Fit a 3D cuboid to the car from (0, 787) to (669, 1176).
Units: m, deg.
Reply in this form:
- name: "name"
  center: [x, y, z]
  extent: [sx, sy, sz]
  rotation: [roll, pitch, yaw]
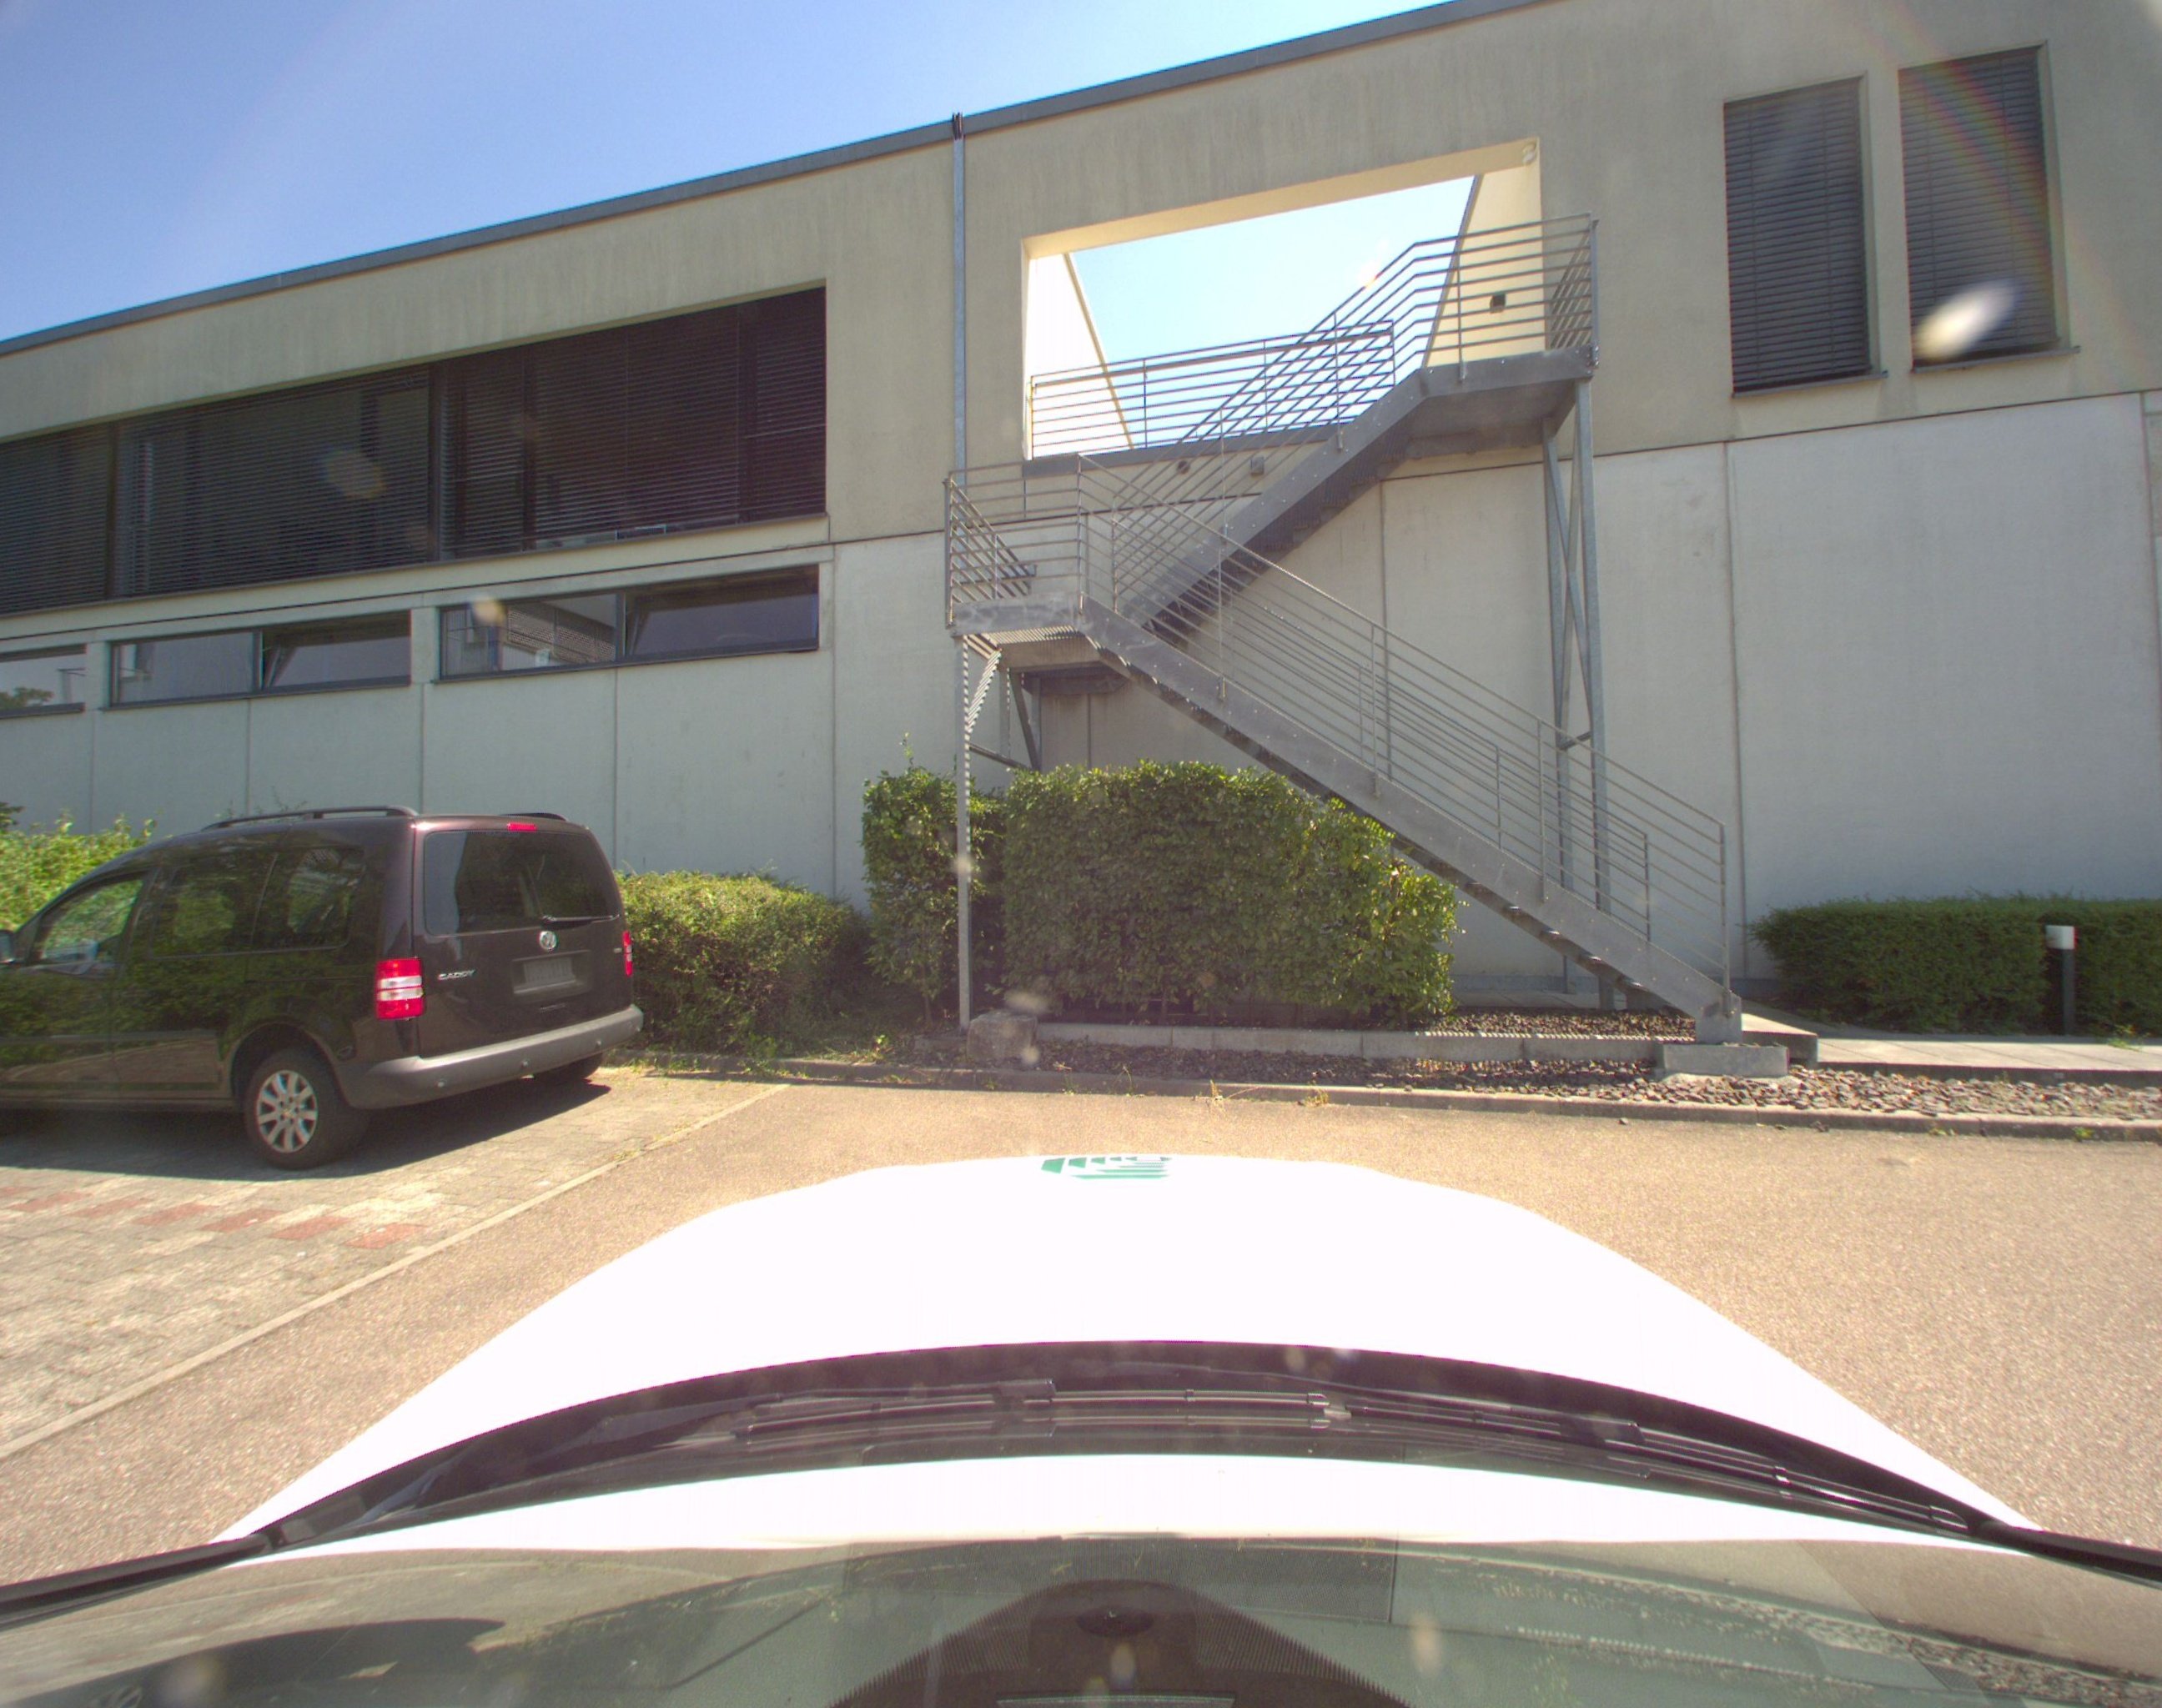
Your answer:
- name: "car"
  center: [-4.998, 0.654, 5.238]
  extent: [4.029, 1.884, 1.685]
  rotation: [-1, -1, 14]
